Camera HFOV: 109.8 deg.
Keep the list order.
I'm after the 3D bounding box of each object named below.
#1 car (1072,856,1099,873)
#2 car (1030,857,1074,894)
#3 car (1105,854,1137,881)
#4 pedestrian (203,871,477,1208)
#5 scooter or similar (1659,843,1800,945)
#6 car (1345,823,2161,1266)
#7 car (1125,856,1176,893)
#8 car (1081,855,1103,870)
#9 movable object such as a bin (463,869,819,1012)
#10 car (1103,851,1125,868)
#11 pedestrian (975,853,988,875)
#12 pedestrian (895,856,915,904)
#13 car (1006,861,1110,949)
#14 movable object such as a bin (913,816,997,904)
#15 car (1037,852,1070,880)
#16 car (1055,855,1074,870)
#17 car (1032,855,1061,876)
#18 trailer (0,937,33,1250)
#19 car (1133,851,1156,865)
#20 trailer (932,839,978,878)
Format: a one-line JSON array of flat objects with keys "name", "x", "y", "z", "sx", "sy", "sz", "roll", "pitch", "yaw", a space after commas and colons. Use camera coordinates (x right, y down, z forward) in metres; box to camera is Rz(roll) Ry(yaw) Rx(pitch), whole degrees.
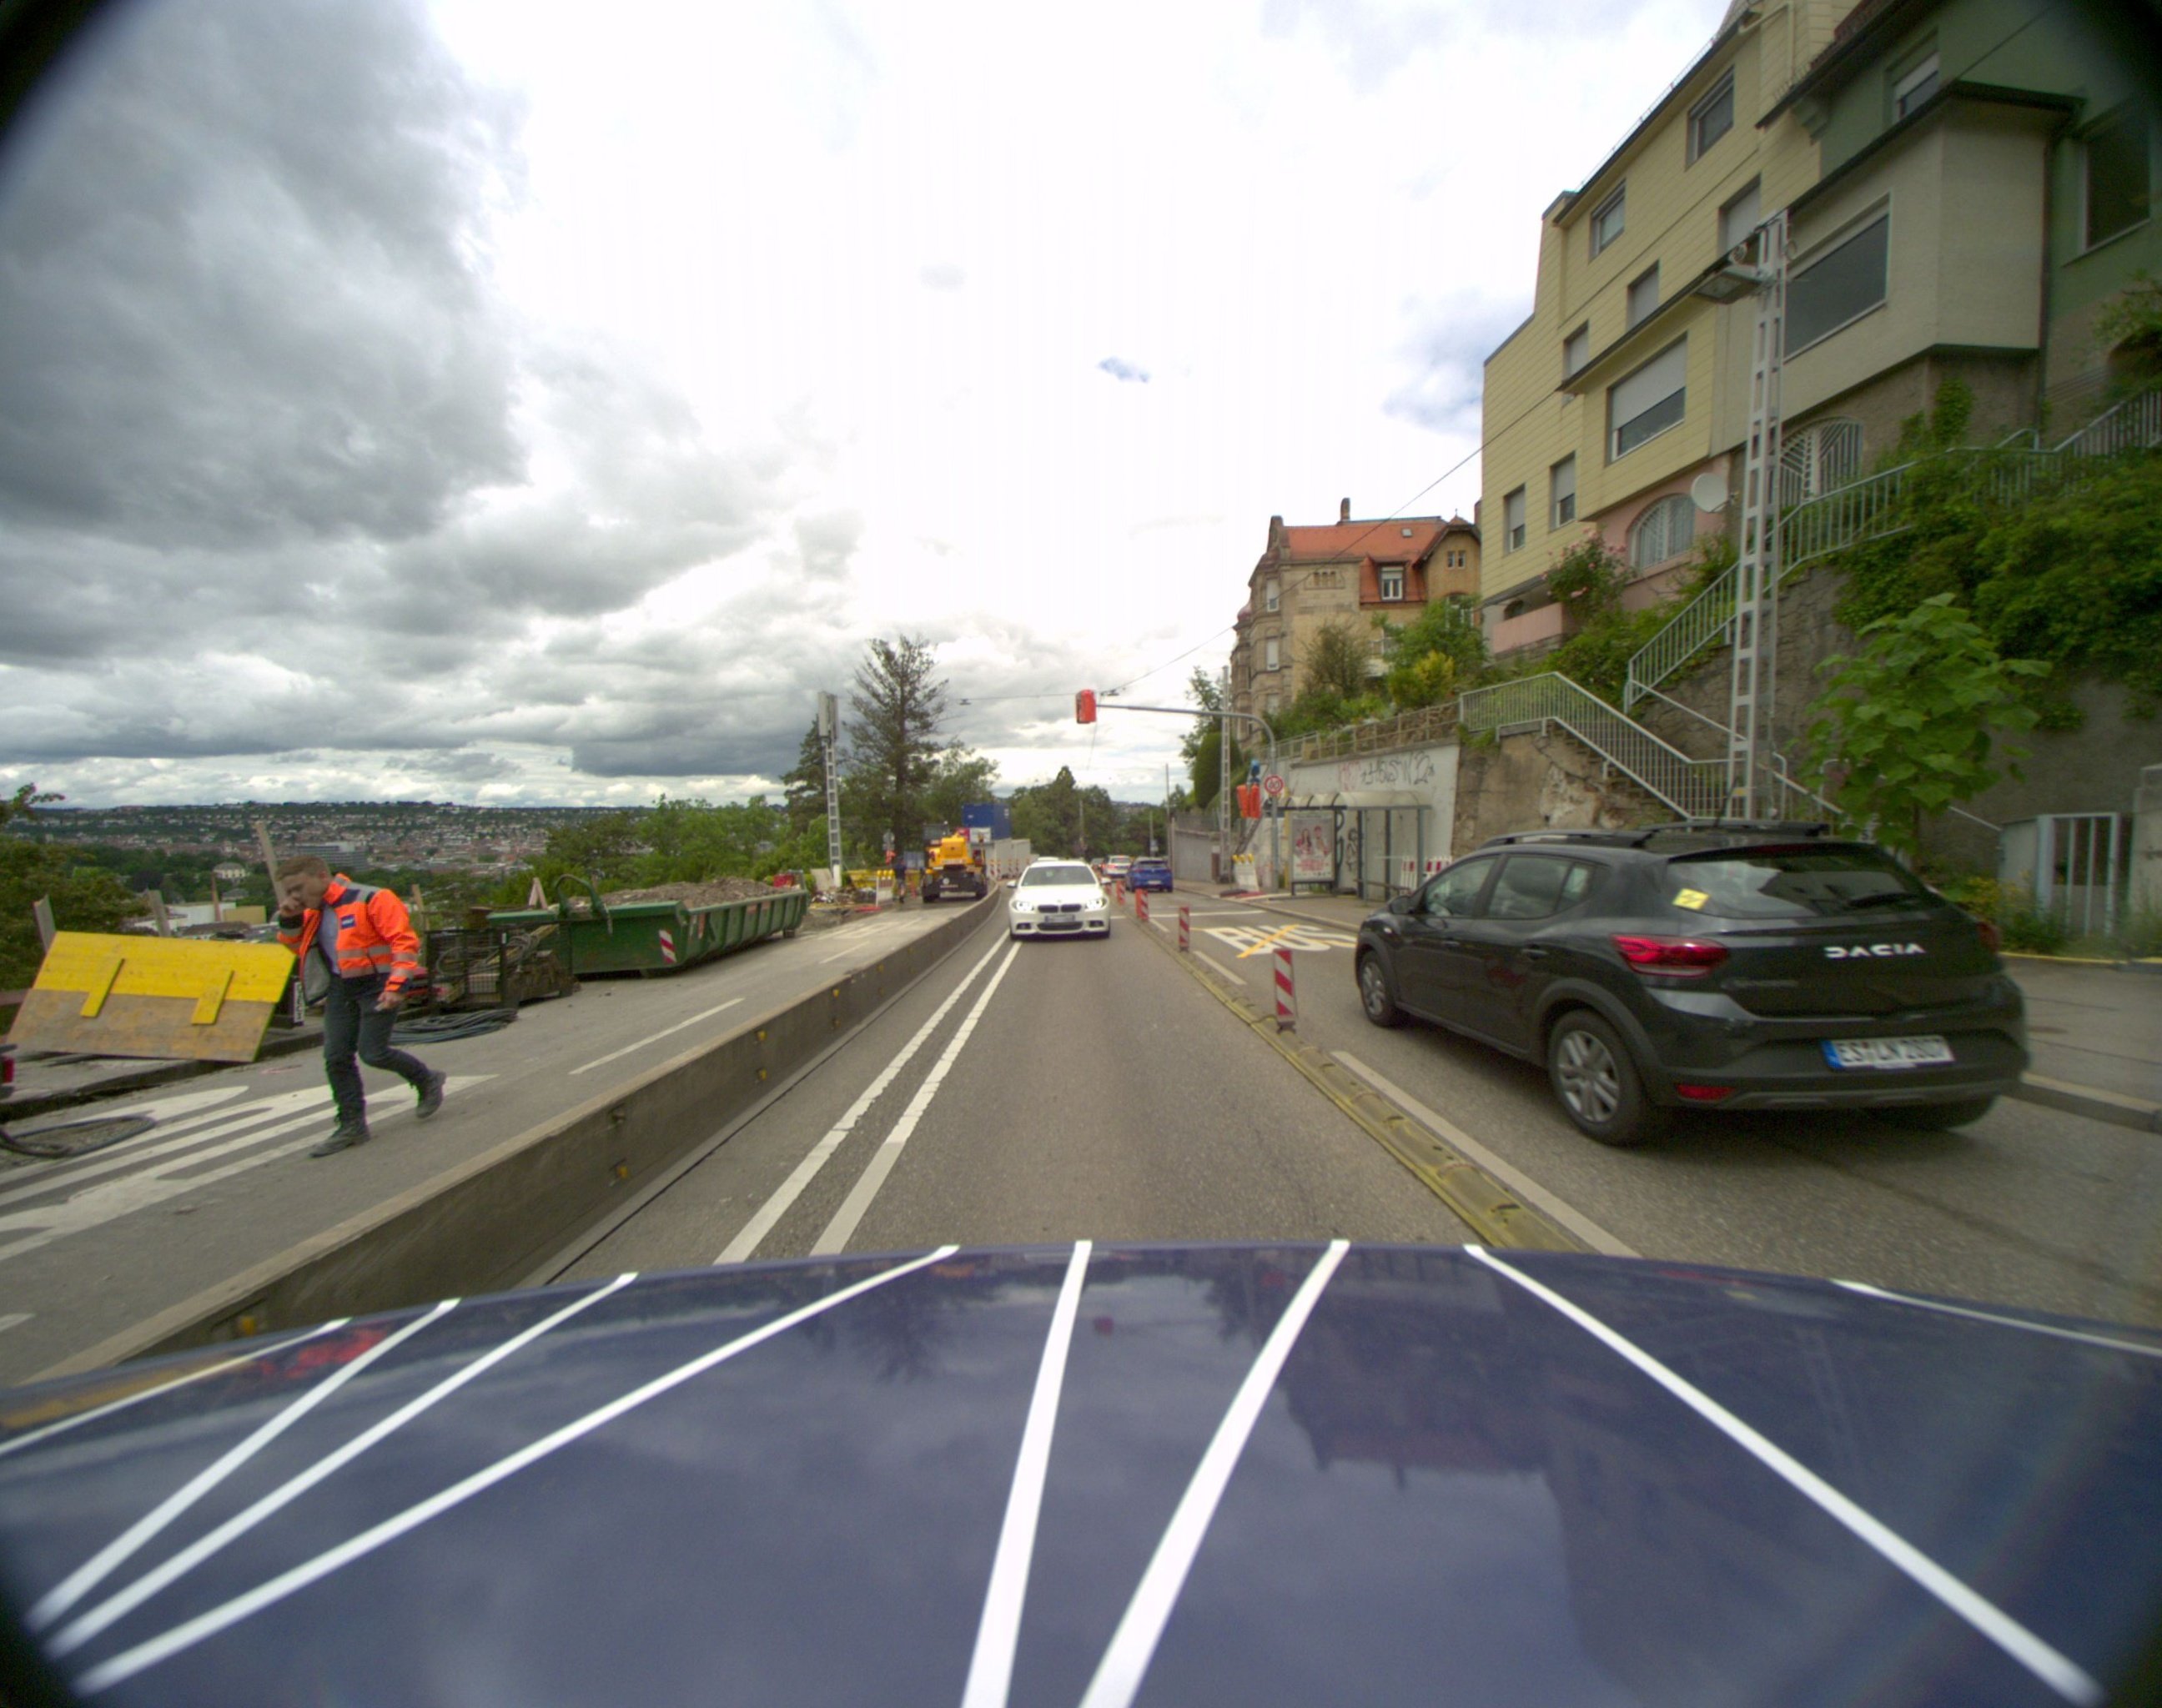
[{"name": "car", "x": 0.507, "y": 0.986, "z": 73.749, "sx": 1.797, "sy": 1.501, "sz": 4.004, "roll": 1, "pitch": 1, "yaw": 12}, {"name": "car", "x": -1.260, "y": 0.900, "z": 33.467, "sx": 1.792, "sy": 1.472, "sz": 4.244, "roll": -1, "pitch": 0, "yaw": -2}, {"name": "car", "x": 2.503, "y": 0.810, "z": 48.672, "sx": 1.846, "sy": 1.590, "sz": 4.263, "roll": -2, "pitch": 0, "yaw": 1}, {"name": "pedestrian", "x": -4.159, "y": 0.964, "z": 4.348, "sx": 0.647, "sy": 1.691, "sz": 0.850, "roll": -3, "pitch": 0, "yaw": -2}, {"name": "scooter or similar", "x": 8.348, "y": 0.479, "z": 9.853, "sx": 0.461, "sy": 1.198, "sz": 1.435, "roll": -4, "pitch": 0, "yaw": -5}, {"name": "car", "x": 3.305, "y": 0.728, "z": 4.826, "sx": 1.820, "sy": 1.612, "sz": 3.818, "roll": -3, "pitch": 0, "yaw": -1}, {"name": "car", "x": 2.914, "y": 0.831, "z": 32.395, "sx": 1.731, "sy": 1.412, "sz": 3.820, "roll": 1, "pitch": 0, "yaw": -1}, {"name": "car", "x": 1.214, "y": 0.933, "z": 81.923, "sx": 1.797, "sy": 1.501, "sz": 4.003, "roll": 1, "pitch": 1, "yaw": 10}, {"name": "movable object such as a bin", "x": -6.762, "y": 1.164, "z": 13.158, "sx": 2.381, "sy": 1.552, "sz": 7.096, "roll": -2, "pitch": 0, "yaw": -4}, {"name": "car", "x": 2.764, "y": 0.443, "z": 63.106, "sx": 1.675, "sy": 1.422, "sz": 3.589, "roll": 0, "pitch": 0, "yaw": 6}, {"name": "pedestrian", "x": -7.548, "y": 0.733, "z": 57.505, "sx": 0.651, "sy": 1.651, "sz": 0.648, "roll": -3, "pitch": 1, "yaw": -36}, {"name": "pedestrian", "x": -6.711, "y": 0.976, "z": 28.983, "sx": 0.691, "sy": 1.784, "sz": 0.539, "roll": -2, "pitch": 0, "yaw": -14}, {"name": "car", "x": -0.353, "y": 0.914, "z": 15.488, "sx": 1.792, "sy": 1.472, "sz": 4.245, "roll": -1, "pitch": 0, "yaw": 1}, {"name": "movable object such as a bin", "x": -4.921, "y": 0.237, "z": 31.084, "sx": 2.820, "sy": 3.053, "sz": 7.819, "roll": -2, "pitch": 0, "yaw": -6}, {"name": "car", "x": -1.598, "y": 0.689, "z": 45.310, "sx": 1.792, "sy": 1.542, "sz": 4.245, "roll": -1, "pitch": 0, "yaw": 0}, {"name": "car", "x": -1.724, "y": 0.887, "z": 81.482, "sx": 1.798, "sy": 1.501, "sz": 4.000, "roll": 1, "pitch": 1, "yaw": 2}, {"name": "car", "x": -2.753, "y": 0.915, "z": 60.987, "sx": 1.798, "sy": 1.501, "sz": 4.001, "roll": 1, "pitch": 1, "yaw": 5}, {"name": "trailer", "x": -5.888, "y": 1.157, "z": 1.912, "sx": 1.291, "sy": 1.466, "sz": 3.635, "roll": -2, "pitch": 0, "yaw": 4}, {"name": "car", "x": 6.346, "y": 0.374, "z": 75.882, "sx": 1.802, "sy": 1.365, "sz": 4.392, "roll": 1, "pitch": 0, "yaw": 11}, {"name": "trailer", "x": -8.473, "y": 0.283, "z": 51.551, "sx": 2.112, "sy": 2.535, "sz": 5.119, "roll": 1, "pitch": 0, "yaw": 2}]
